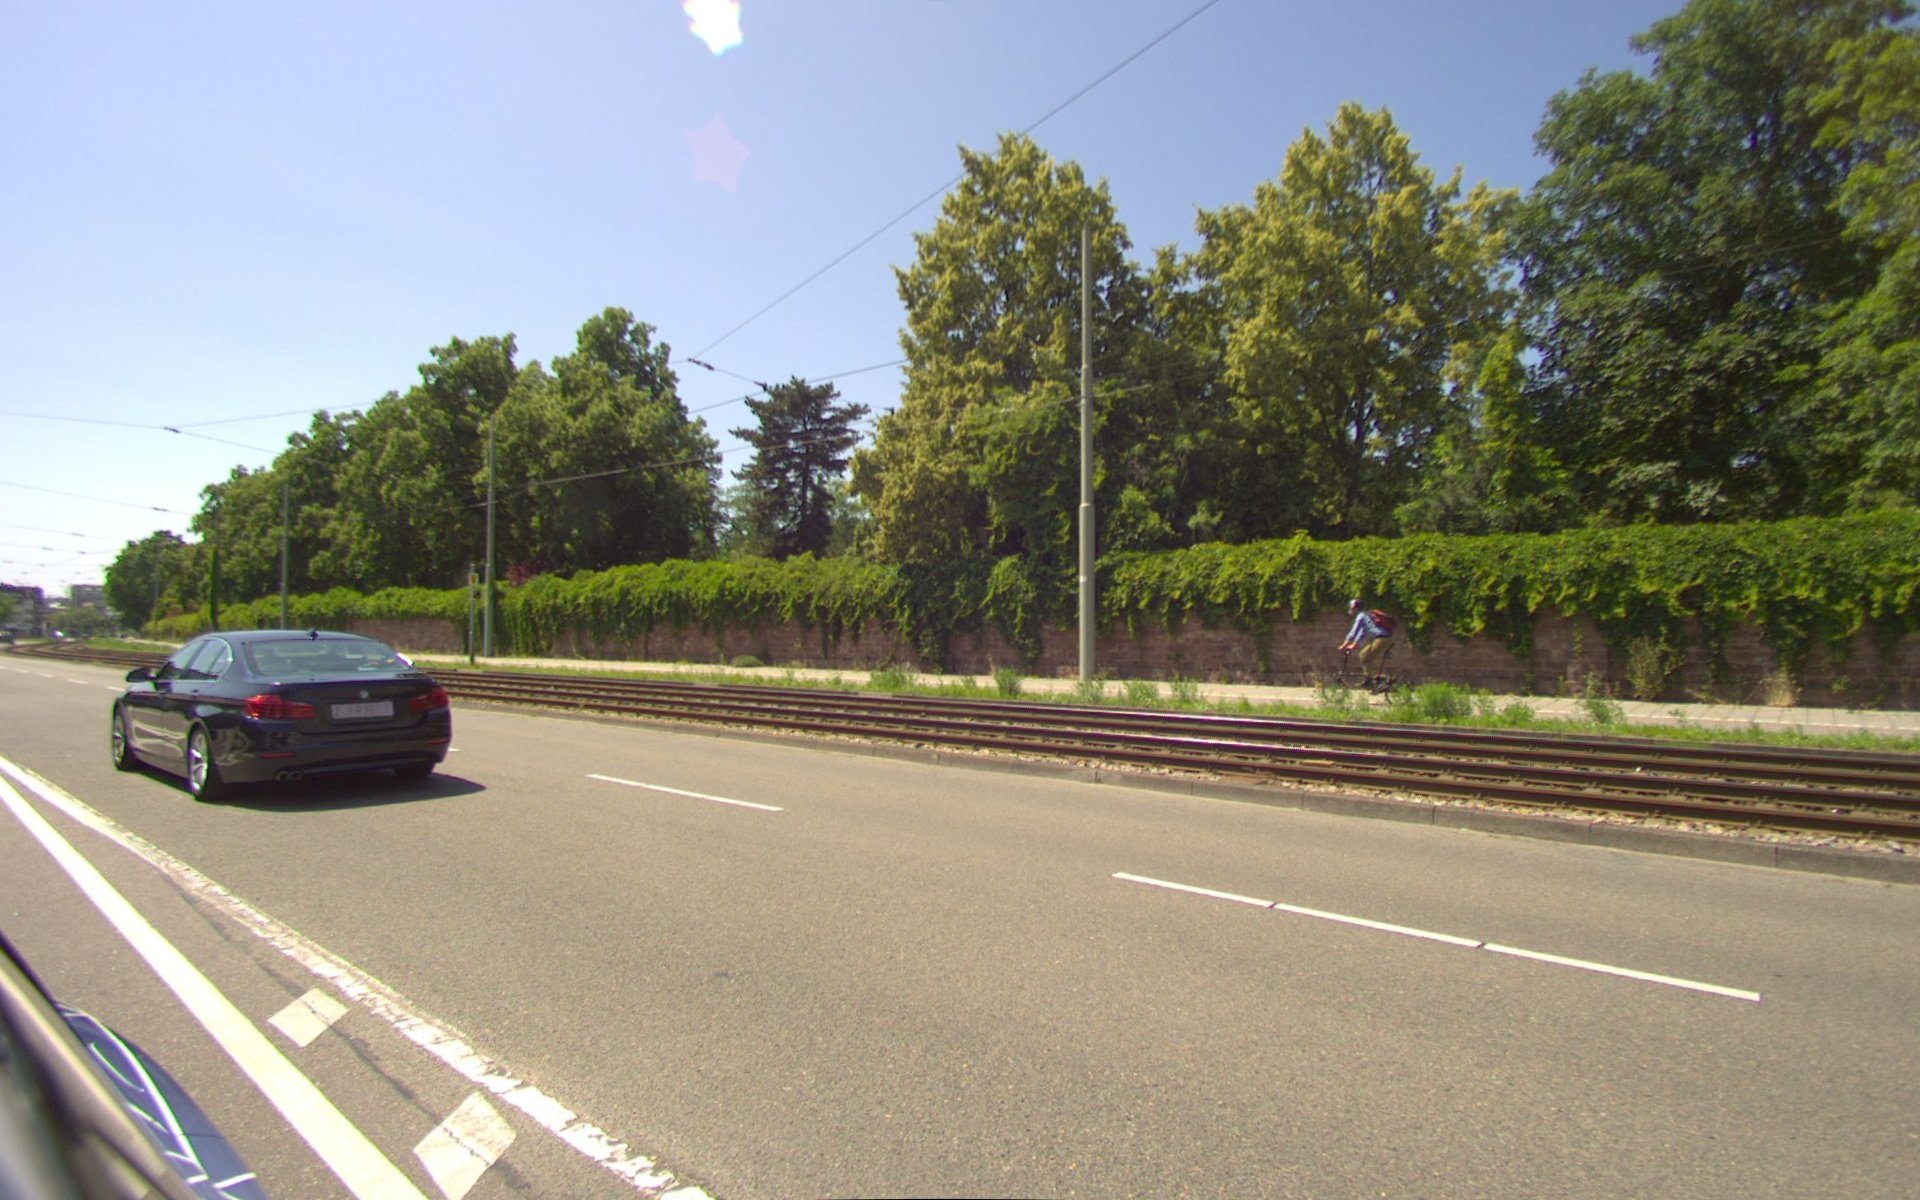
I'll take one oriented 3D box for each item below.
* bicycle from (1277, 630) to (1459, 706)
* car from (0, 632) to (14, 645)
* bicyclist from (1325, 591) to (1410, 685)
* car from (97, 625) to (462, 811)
[{"bbox_3d":[6.746,1.095,16.881,2.686,1.165,0.819,-2,-2,45],"label":"bicycle"},{"bbox_3d":[-113.730,4.577,120.226,1.670,1.480,4.006,1,-2,-40],"label":"car"},{"bbox_3d":[6.782,0.624,16.842,1.000,1.497,0.983,-2,-2,44],"label":"bicyclist"},{"bbox_3d":[-6.732,0.960,9.817,4.444,1.410,1.775,-2,-2,40],"label":"car"}]
